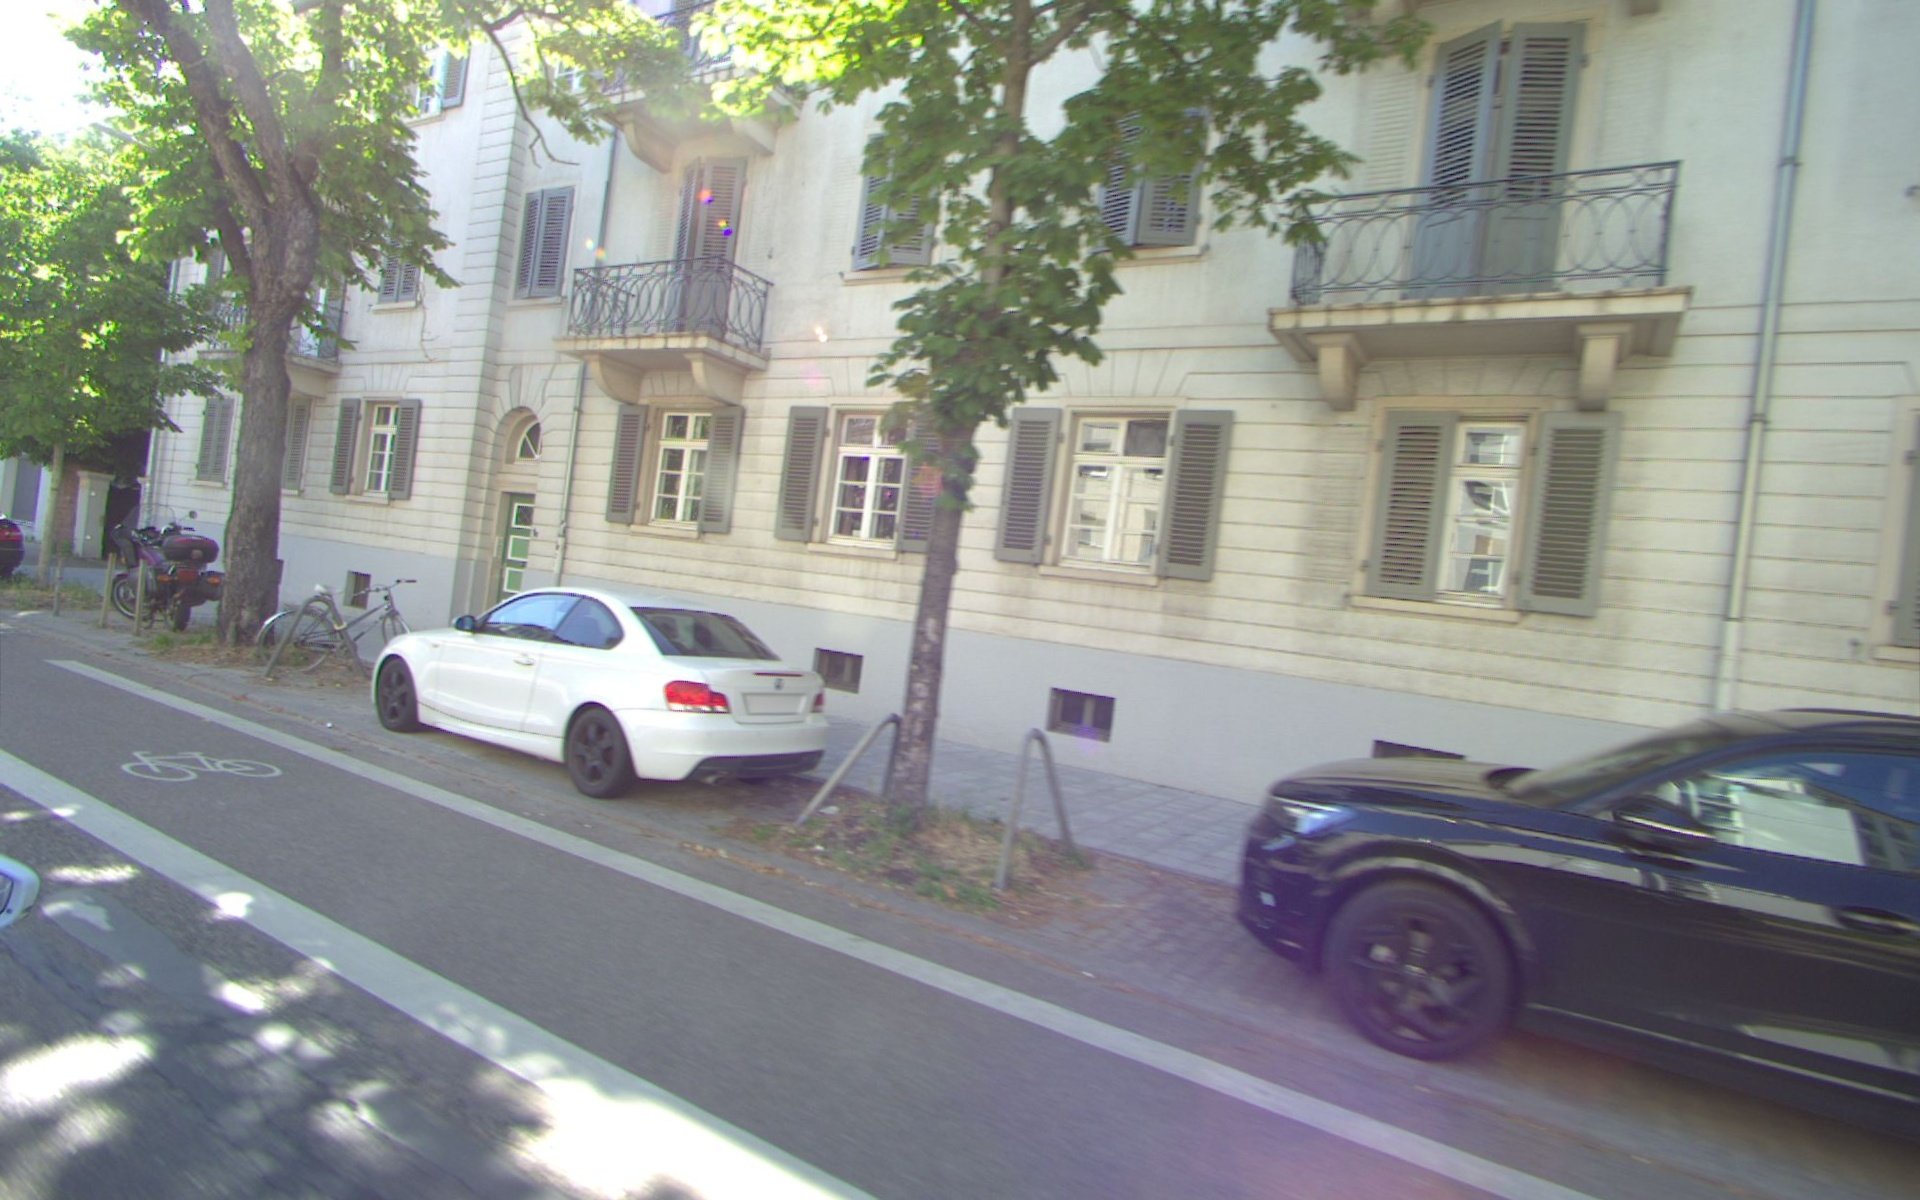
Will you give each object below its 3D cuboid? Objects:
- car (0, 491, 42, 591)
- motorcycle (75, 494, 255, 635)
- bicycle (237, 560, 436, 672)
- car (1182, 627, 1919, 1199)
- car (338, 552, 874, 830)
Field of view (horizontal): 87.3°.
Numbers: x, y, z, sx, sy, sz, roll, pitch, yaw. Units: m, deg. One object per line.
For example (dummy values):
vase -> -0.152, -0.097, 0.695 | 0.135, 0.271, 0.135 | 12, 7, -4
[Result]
car -> -17.015, -1.196, 16.134 | 4.734, 1.477, 1.825 | 7, 1, 28
motorcycle -> -10.209, -0.477, 12.885 | 2.635, 1.507, 0.914 | 7, 1, 33
bicycle -> -6.686, 0.204, 10.868 | 0.674, 1.056, 1.621 | 7, 0, 32
car -> 3.465, 1.227, 4.128 | 4.508, 1.647, 1.812 | 7, 1, 32
car -> -2.973, 0.565, 8.114 | 4.284, 1.399, 1.725 | 7, 1, 33
